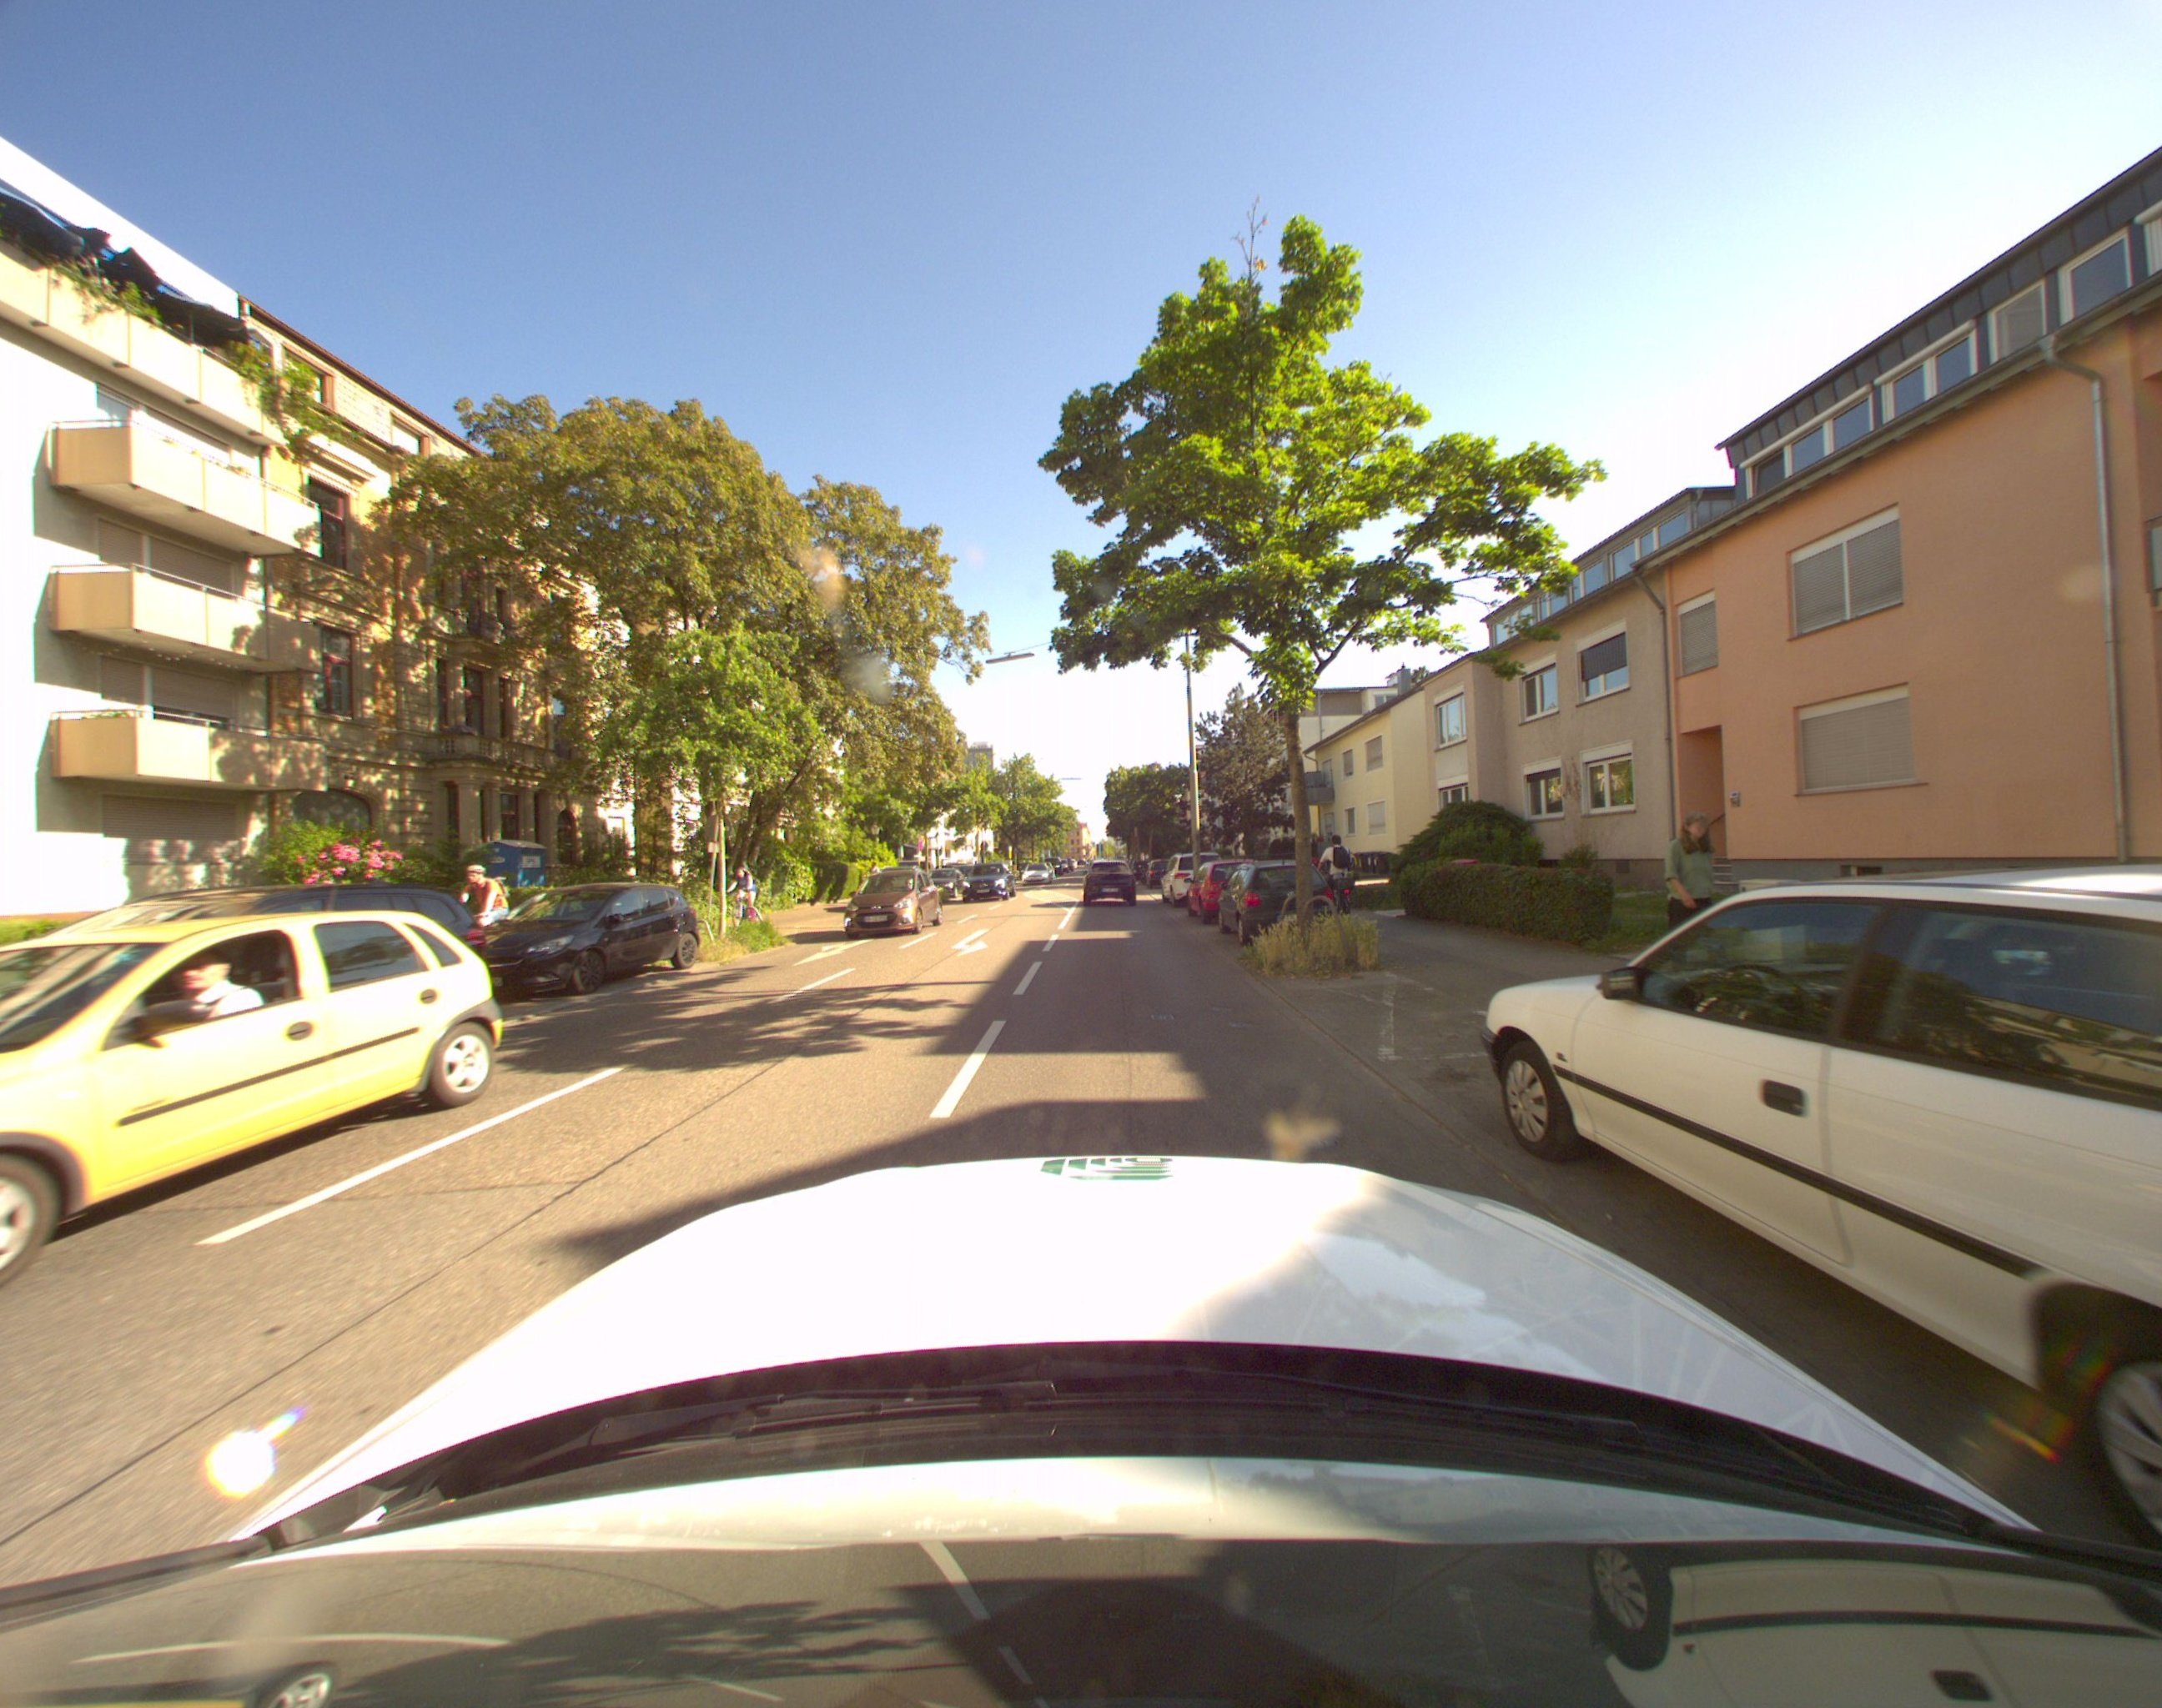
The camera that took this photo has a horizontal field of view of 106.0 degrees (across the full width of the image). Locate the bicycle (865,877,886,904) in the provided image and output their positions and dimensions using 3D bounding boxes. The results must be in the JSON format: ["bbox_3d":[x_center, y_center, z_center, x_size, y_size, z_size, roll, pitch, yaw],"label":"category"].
[{"bbox_3d":[-9.063,1.601,35.969,0.447,1.116,1.765,0,0,1],"label":"bicycle"}]

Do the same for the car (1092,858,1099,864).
[{"bbox_3d":[3.828,1.710,212.701,1.765,1.452,3.886,-2,0,1],"label":"car"}]

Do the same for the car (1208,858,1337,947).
[{"bbox_3d":[3.375,0.791,15.004,1.526,1.356,3.719,-3,0,1],"label":"car"}]

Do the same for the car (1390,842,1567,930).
[{"bbox_3d":[7.376,0.544,15.527,1.526,1.356,3.719,-5,0,1],"label":"car"}]

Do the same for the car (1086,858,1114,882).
[{"bbox_3d":[1.388,1.120,58.228,1.823,1.578,3.841,-3,0,2],"label":"car"}]

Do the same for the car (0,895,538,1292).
[{"bbox_3d":[-5.035,1.064,4.370,1.629,1.403,3.736,-4,0,0],"label":"car"}]

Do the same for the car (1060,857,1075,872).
[{"bbox_3d":[-1.864,1.467,113.126,1.796,1.911,4.713,-5,-1,1],"label":"car"}]

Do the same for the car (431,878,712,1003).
[{"bbox_3d":[-7.429,1.168,12.399,1.595,1.477,3.934,-1,0,3],"label":"car"}]

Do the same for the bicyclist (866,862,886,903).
[{"bbox_3d":[-9.062,1.263,36.036,0.580,1.767,1.208,0,-1,1],"label":"bicyclist"}]

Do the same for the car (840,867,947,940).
[{"bbox_3d":[-4.406,1.118,19.677,1.576,1.451,3.745,-4,0,1],"label":"car"}]

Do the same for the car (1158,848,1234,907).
[{"bbox_3d":[3.635,0.717,26.373,1.763,1.659,4.340,-3,0,0],"label":"car"}]

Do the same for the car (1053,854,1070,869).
[{"bbox_3d":[-2.465,0.930,102.114,1.809,1.743,4.494,-4,-1,1],"label":"car"}]

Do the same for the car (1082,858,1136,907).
[{"bbox_3d":[0.956,0.951,28.243,1.739,1.574,3.559,-1,-1,1],"label":"car"}]

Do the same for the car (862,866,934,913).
[{"bbox_3d":[-6.764,1.261,30.521,1.619,1.588,4.348,-1,0,1],"label":"car"}]

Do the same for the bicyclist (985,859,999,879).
[{"bbox_3d":[-8.403,1.404,76.951,1.044,1.824,0.663,-3,-1,12],"label":"bicyclist"}]

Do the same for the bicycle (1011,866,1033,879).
[{"bbox_3d":[-5.320,1.670,73.695,2.005,1.092,0.465,-1,0,24],"label":"bicycle"}]

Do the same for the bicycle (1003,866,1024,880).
[{"bbox_3d":[-5.914,1.678,71.220,1.912,1.135,0.465,-1,0,29],"label":"bicycle"}]

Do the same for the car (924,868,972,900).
[{"bbox_3d":[-6.514,1.436,40.264,1.631,1.417,4.091,0,0,2],"label":"car"}]

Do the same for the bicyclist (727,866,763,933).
[{"bbox_3d":[-9.052,1.220,21.978,0.606,1.754,0.691,-2,-1,1],"label":"bicyclist"}]

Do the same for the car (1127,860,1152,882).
[{"bbox_3d":[4.143,1.200,58.135,1.580,1.396,4.456,-4,0,2],"label":"car"}]

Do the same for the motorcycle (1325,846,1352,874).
[{"bbox_3d":[13.417,0.296,42.563,0.634,1.375,2.426,-3,0,2],"label":"motorcycle"}]

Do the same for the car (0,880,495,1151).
[{"bbox_3d":[-7.654,1.104,7.235,1.665,1.605,4.394,-1,0,0],"label":"car"}]

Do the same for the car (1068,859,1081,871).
[{"bbox_3d":[-1.069,1.773,132.222,1.800,1.648,4.673,-5,0,1],"label":"car"}]

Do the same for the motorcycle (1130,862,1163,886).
[{"bbox_3d":[3.708,1.167,46.453,0.701,1.271,2.411,-4,0,-26],"label":"motorcycle"}]

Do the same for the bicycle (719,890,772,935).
[{"bbox_3d":[-9.025,1.564,21.967,0.606,1.073,1.744,-2,-1,2],"label":"bicycle"}]

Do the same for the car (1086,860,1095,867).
[{"bbox_3d":[2.237,2.228,186.884,1.764,1.452,3.889,-2,0,3],"label":"car"}]

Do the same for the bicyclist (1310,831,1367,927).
[{"bbox_3d":[5.057,0.481,16.080,0.721,1.793,1.016,-3,-1,1],"label":"bicyclist"}]

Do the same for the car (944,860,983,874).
[{"bbox_3d":[-13.096,1.423,90.772,3.973,1.486,1.881,-1,0,0],"label":"car"}]

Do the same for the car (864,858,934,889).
[{"bbox_3d":[-12.259,1.270,54.876,4.335,1.879,1.864,-1,0,-24],"label":"car"}]

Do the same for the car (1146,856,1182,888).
[{"bbox_3d":[4.230,0.913,42.064,1.613,1.499,3.652,-3,0,3],"label":"car"}]

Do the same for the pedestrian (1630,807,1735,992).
[{"bbox_3d":[5.717,0.418,7.764,0.536,1.677,0.493,-3,-1,1],"label":"pedestrian"}]

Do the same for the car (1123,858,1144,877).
[{"bbox_3d":[4.513,1.133,69.653,1.684,1.428,4.152,-3,-1,4],"label":"car"}]

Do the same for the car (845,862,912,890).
[{"bbox_3d":[-12.924,1.379,51.974,3.924,1.644,1.667,-1,0,-23],"label":"car"}]

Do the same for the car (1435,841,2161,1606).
[{"bbox_3d":[2.927,0.713,2.887,1.643,1.403,3.972,-4,0,2],"label":"car"}]

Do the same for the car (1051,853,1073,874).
[{"bbox_3d":[-1.915,0.973,85.103,2.009,1.952,5.178,-4,0,1],"label":"car"}]

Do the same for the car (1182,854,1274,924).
[{"bbox_3d":[3.450,0.784,19.725,1.527,1.449,3.717,-3,0,0],"label":"car"}]

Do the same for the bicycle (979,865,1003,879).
[{"bbox_3d":[-8.545,1.711,77.001,2.171,1.193,0.451,-3,-1,11],"label":"bicycle"}]

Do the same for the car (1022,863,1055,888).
[{"bbox_3d":[-2.807,1.420,54.515,1.727,1.412,4.193,-5,-1,1],"label":"car"}]

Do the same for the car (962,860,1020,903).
[{"bbox_3d":[-3.807,1.130,35.224,1.830,1.613,4.401,-5,0,1],"label":"car"}]

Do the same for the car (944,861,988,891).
[{"bbox_3d":[-6.434,1.187,45.935,1.671,1.555,4.010,-2,0,3],"label":"car"}]

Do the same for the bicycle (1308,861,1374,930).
[{"bbox_3d":[5.109,0.776,16.092,0.695,1.247,1.822,-3,0,2],"label":"bicycle"}]

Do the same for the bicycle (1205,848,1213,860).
[{"bbox_3d":[14.685,0.019,93.374,0.589,1.287,1.690,-5,-1,2],"label":"bicycle"}]
